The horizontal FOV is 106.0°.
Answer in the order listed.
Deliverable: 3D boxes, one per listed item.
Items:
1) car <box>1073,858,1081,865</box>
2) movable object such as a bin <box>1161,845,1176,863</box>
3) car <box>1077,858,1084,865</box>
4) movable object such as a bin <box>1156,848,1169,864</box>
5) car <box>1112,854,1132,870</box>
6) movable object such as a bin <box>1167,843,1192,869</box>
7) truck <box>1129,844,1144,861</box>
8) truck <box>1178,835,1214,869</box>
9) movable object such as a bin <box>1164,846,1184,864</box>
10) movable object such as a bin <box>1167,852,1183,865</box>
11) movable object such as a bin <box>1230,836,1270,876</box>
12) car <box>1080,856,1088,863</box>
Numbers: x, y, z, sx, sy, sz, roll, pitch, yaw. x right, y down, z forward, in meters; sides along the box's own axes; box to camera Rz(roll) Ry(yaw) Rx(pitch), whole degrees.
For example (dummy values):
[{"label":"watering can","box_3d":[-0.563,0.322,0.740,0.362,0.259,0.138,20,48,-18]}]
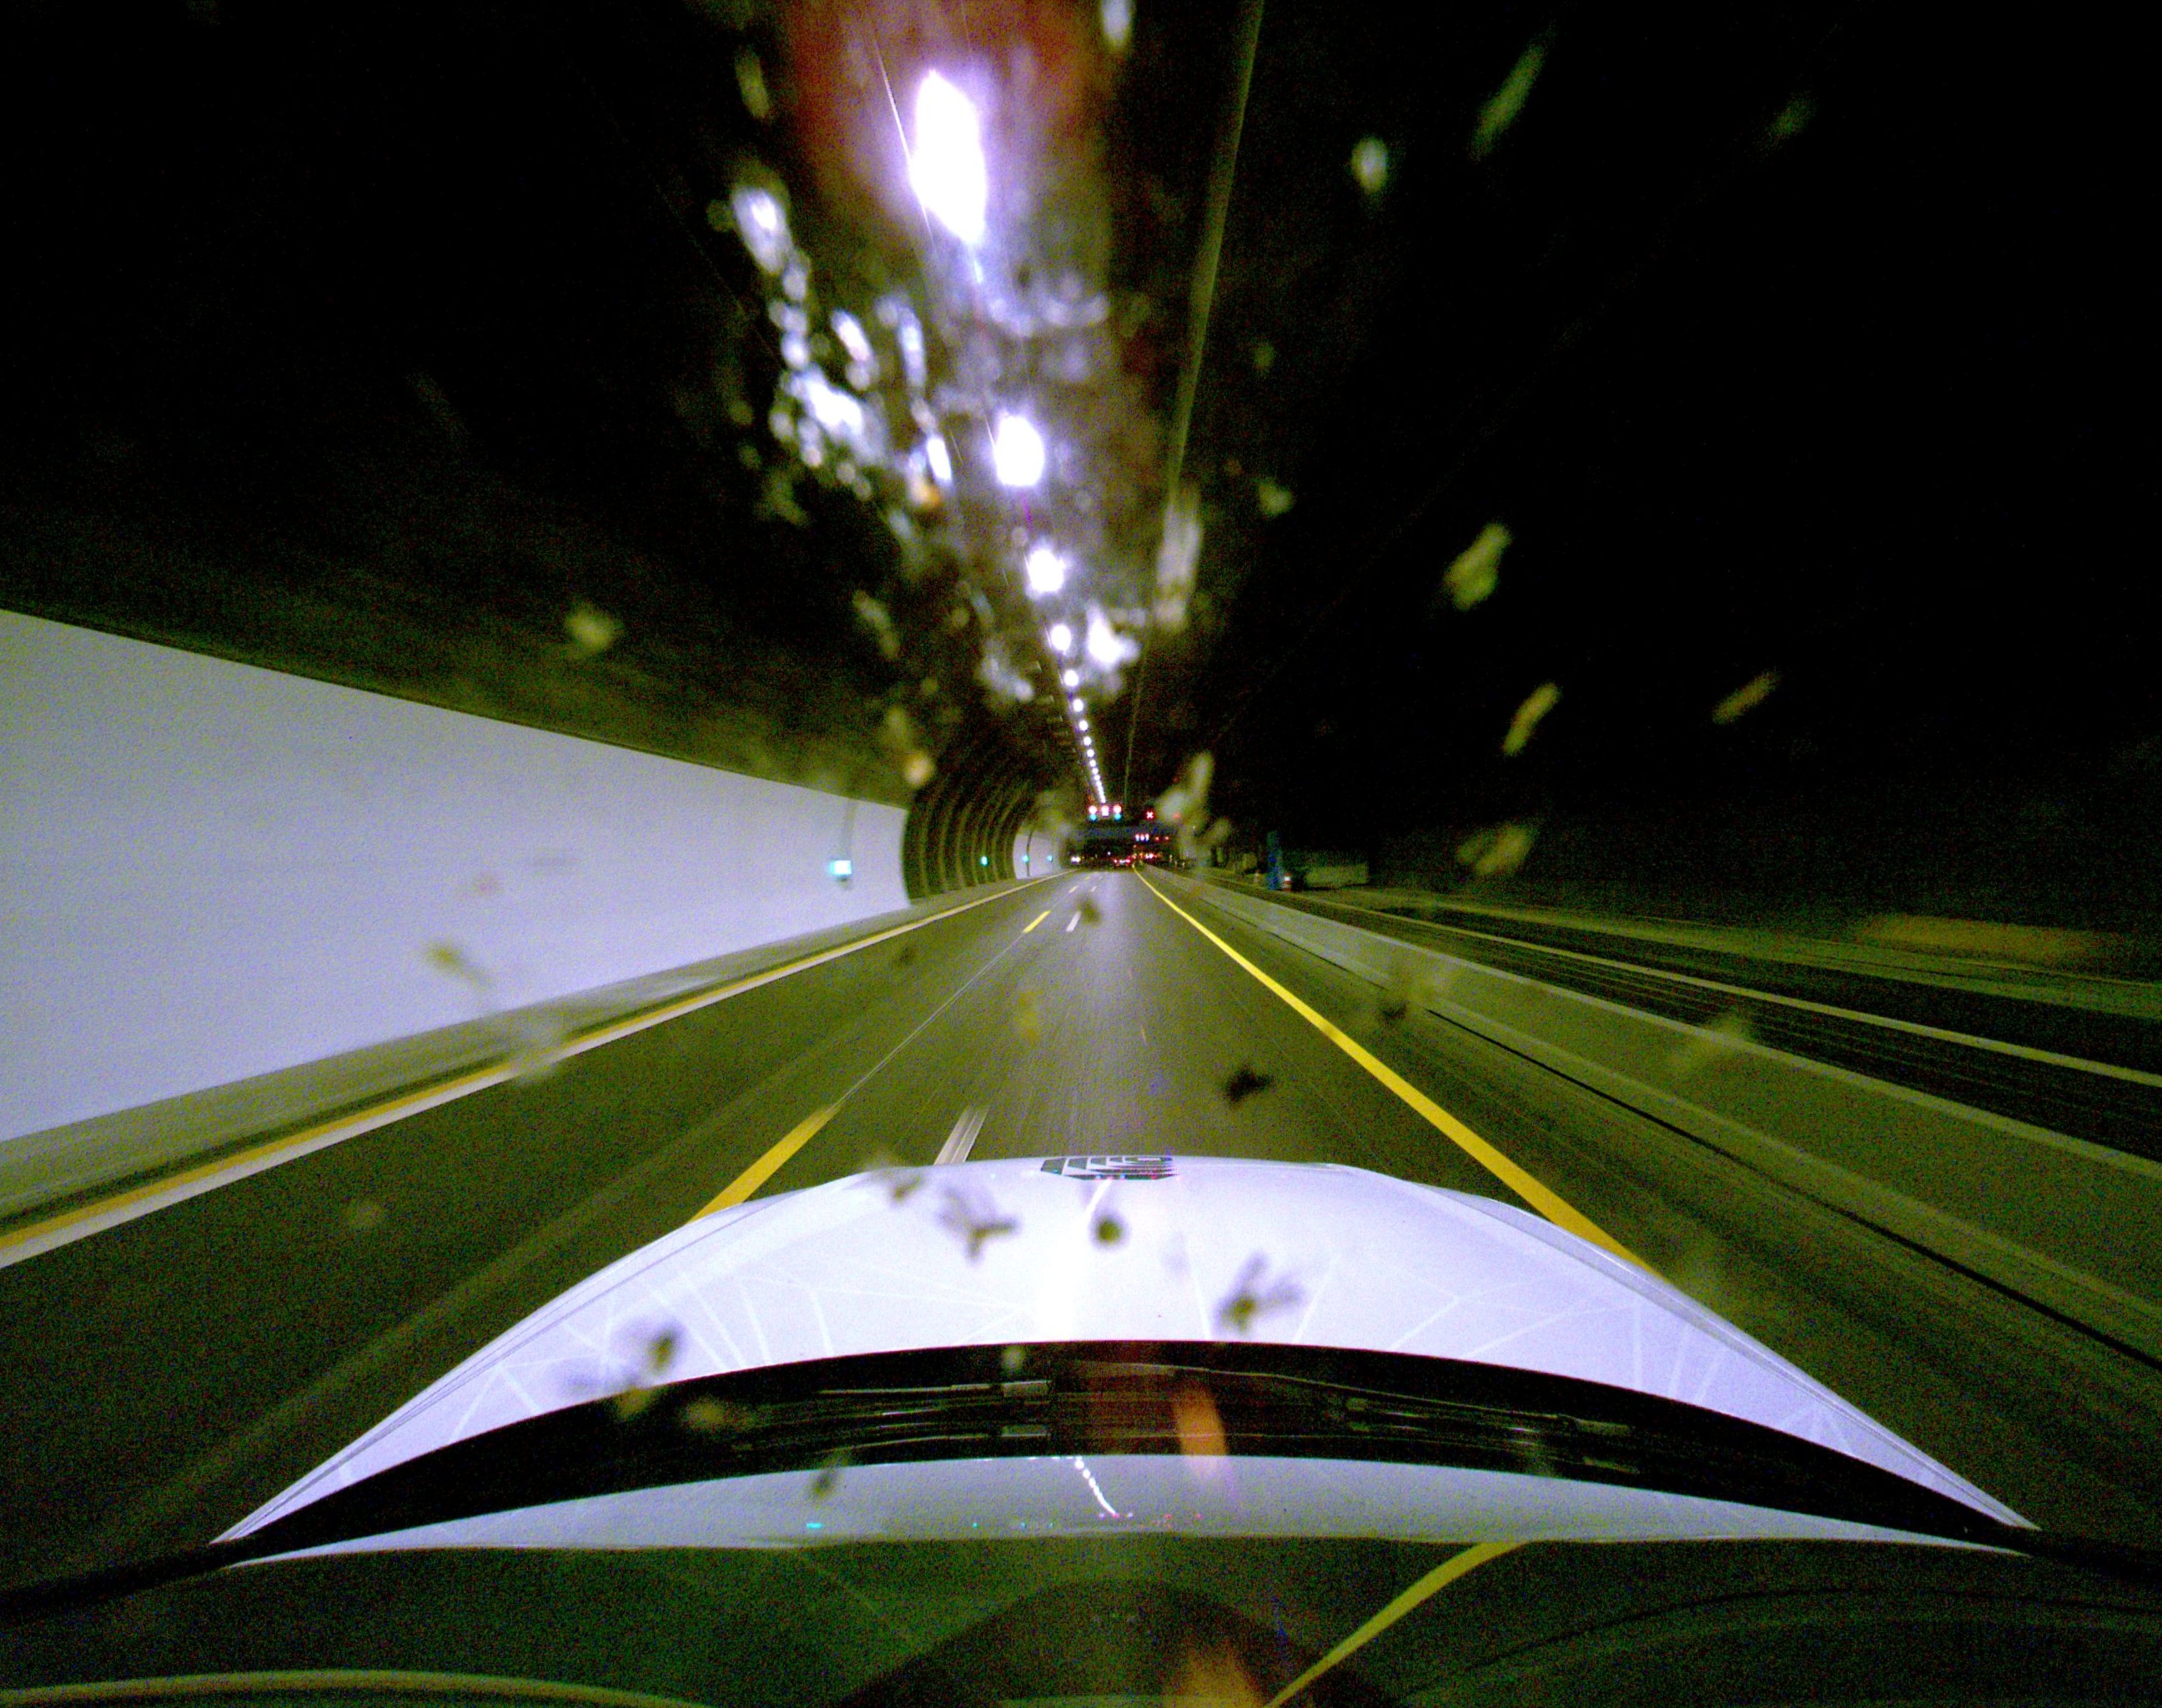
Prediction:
[{"label":"car","box_3d":[-1.020,2.111,224.736,1.985,2.014,4.003,-1,-1,3]},{"label":"movable object such as a bin","box_3d":[18.040,-0.013,168.655,2.725,3.679,6.340,-1,-1,4]},{"label":"car","box_3d":[-0.095,2.176,234.810,1.985,2.014,4.003,-1,-1,3]},{"label":"movable object such as a bin","box_3d":[18.729,0.466,187.814,2.725,3.455,6.953,-1,-1,4]},{"label":"car","box_3d":[4.375,0.865,87.737,1.882,1.607,3.999,-1,-1,0]},{"label":"movable object such as a bin","box_3d":[11.161,0.270,92.863,2.229,2.794,7.237,-1,-1,3]},{"label":"truck","box_3d":[16.824,-0.403,246.322,4.526,4.987,9.608,-1,-1,4]},{"label":"truck","box_3d":[11.646,-0.177,83.098,2.880,3.272,8.406,-1,-1,3]},{"label":"movable object such as a bin","box_3d":[14.692,0.193,129.335,2.725,2.754,7.056,-1,-1,4]},{"label":"movable object such as a bin","box_3d":[13.444,0.673,116.660,1.970,1.816,3.839,-1,-1,3]},{"label":"movable object such as a bin","box_3d":[11.207,0.141,54.263,1.750,2.380,4.002,-5,-1,2]},{"label":"car","box_3d":[0.878,1.554,241.718,1.985,2.014,4.003,-1,-1,3]}]
